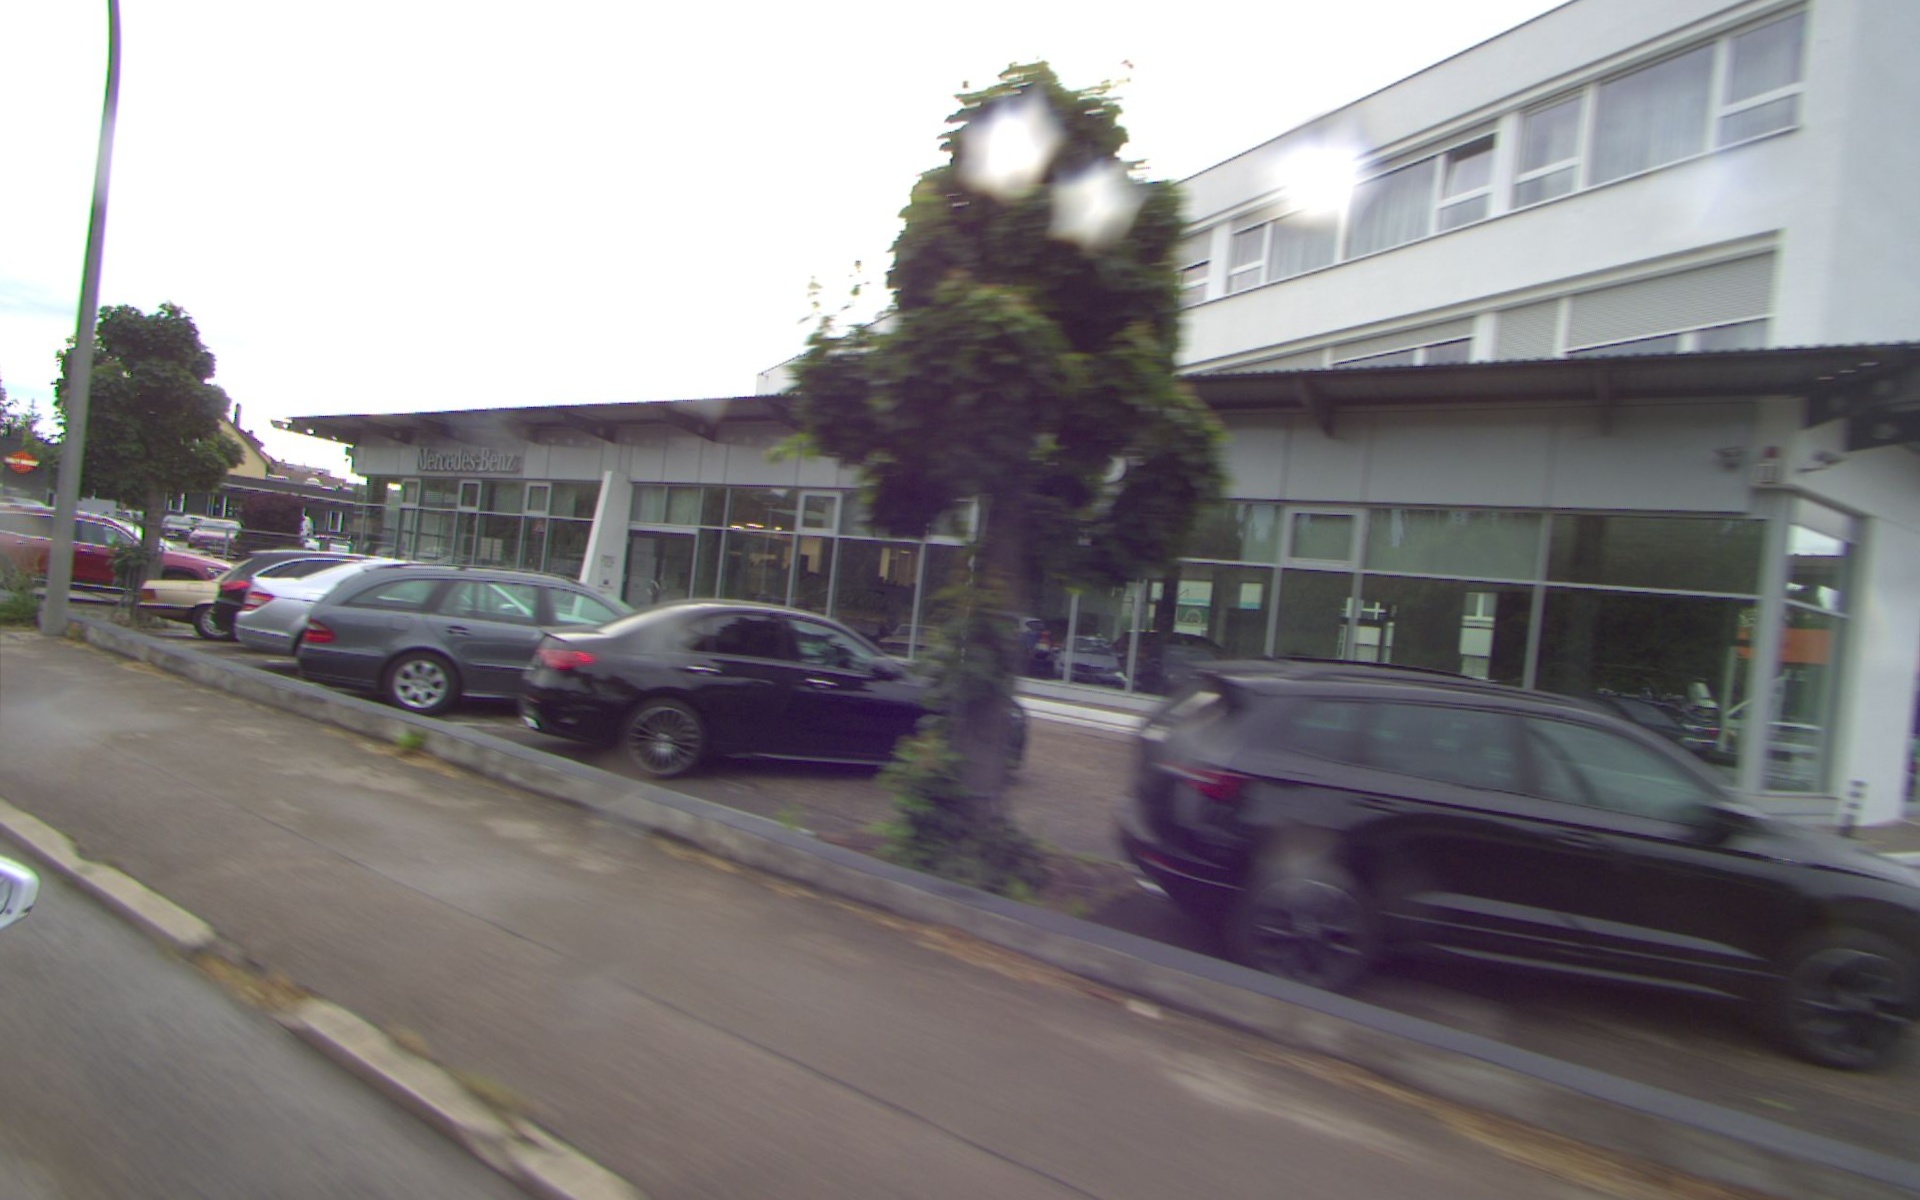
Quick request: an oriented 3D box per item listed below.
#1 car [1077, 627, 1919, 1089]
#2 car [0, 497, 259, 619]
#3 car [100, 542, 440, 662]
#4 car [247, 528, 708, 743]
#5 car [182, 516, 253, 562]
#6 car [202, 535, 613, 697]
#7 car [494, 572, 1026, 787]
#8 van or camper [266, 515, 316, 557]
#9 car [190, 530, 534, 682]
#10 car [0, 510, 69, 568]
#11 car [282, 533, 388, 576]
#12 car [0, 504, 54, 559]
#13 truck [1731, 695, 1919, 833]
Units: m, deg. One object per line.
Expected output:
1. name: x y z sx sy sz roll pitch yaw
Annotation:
1. car: 3.048 1.273 5.654 4.465 1.628 1.842 8 0 2
2. car: -16.739 -0.825 19.617 4.647 1.680 1.988 10 -4 -28
3. car: -10.744 0.094 16.102 4.187 1.315 1.725 8 -4 -28
4. car: -4.911 0.443 10.806 3.947 1.572 1.892 9 -4 -21
5. car: -30.986 -2.491 42.096 1.982 1.435 3.968 10 -4 -33
6. car: -6.634 0.239 12.596 4.119 1.485 1.828 7 -1 -23
7. car: -1.825 0.742 9.303 4.386 1.498 1.923 6 0 -25
8. van or camper: -40.644 -3.842 61.204 1.980 1.959 5.392 10 -4 -30
9. car: -8.535 0.146 14.741 3.927 1.508 1.964 10 -4 -28
10. car: -27.796 -1.966 27.963 1.970 1.384 4.113 5 -5 37
11. car: -33.526 -2.416 54.146 4.603 1.415 1.709 10 -4 -29
12. car: -29.657 -2.299 29.661 1.568 1.423 3.995 5 -5 35
13. truck: 27.405 4.955 29.795 2.546 3.450 6.603 9 -4 -30
